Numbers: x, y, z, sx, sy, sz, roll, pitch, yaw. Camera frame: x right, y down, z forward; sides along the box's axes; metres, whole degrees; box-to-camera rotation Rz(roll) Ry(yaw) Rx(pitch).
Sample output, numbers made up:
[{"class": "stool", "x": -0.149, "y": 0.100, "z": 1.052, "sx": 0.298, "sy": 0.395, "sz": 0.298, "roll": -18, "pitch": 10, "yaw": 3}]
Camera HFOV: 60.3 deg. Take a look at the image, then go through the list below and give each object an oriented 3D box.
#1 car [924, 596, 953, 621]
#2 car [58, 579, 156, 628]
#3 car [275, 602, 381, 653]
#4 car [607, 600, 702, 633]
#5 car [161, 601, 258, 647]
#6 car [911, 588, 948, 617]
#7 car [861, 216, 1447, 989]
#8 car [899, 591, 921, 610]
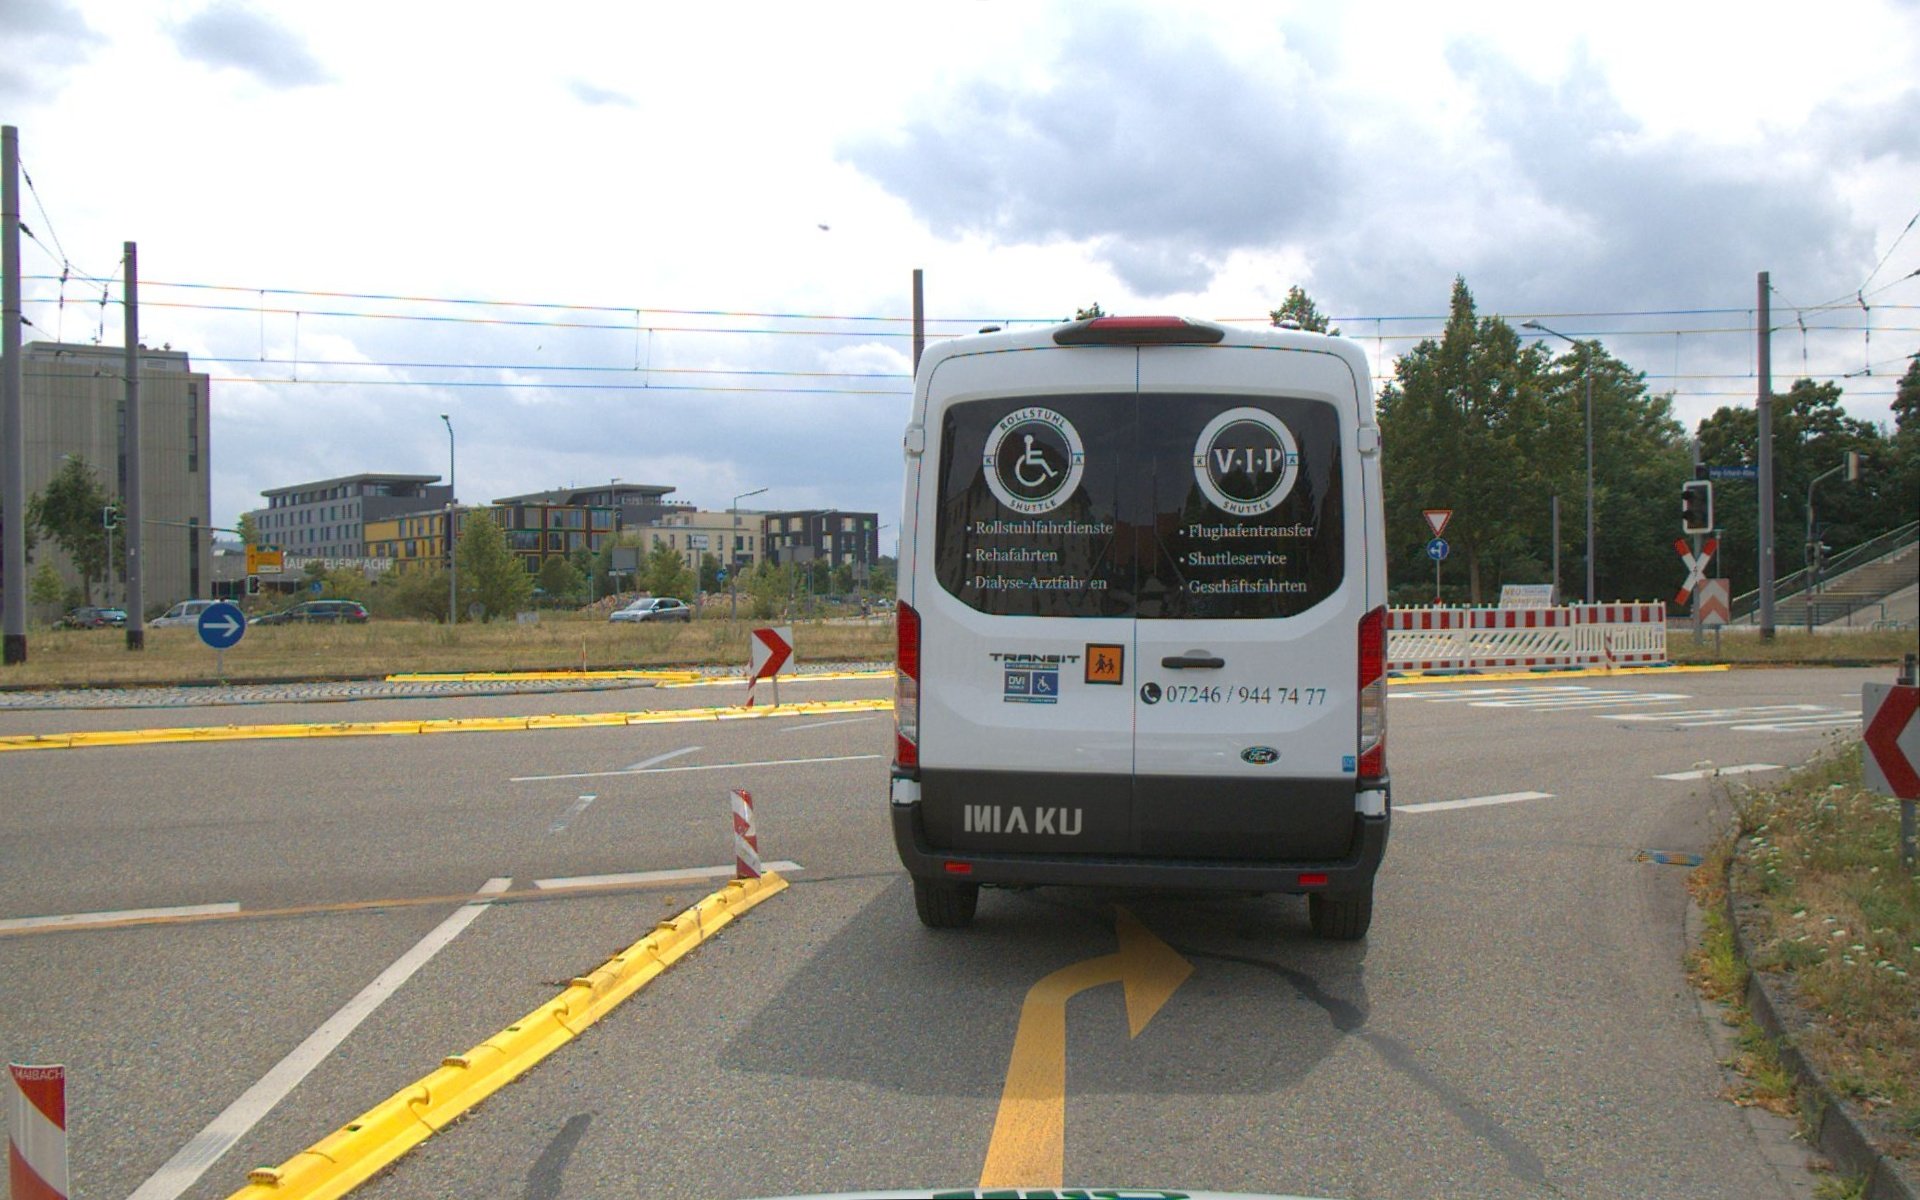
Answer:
[{"class": "car", "x": -1.632, "y": 0.689, "z": 127.707, "sx": 1.952, "sy": 1.881, "sz": 4.001, "roll": 0, "pitch": -1, "yaw": 3}, {"class": "car", "x": -36.567, "y": 0.169, "z": 70.881, "sx": 3.914, "sy": 2.049, "sz": 1.995, "roll": -1, "pitch": -2, "yaw": 32}, {"class": "car", "x": -26.128, "y": 1.149, "z": 68.488, "sx": 3.924, "sy": 2.049, "sz": 1.990, "roll": 1, "pitch": -1, "yaw": -18}, {"class": "car", "x": -13.803, "y": 0.747, "z": 74.944, "sx": 1.802, "sy": 1.489, "sz": 3.973, "roll": -1, "pitch": -1, "yaw": 44}, {"class": "car", "x": -34.103, "y": 1.085, "z": 75.118, "sx": 4.268, "sy": 2.049, "sz": 1.995, "roll": -1, "pitch": -2, "yaw": 32}, {"class": "car", "x": -2.054, "y": 0.168, "z": 111.875, "sx": 1.951, "sy": 1.881, "sz": 4.003, "roll": 0, "pitch": -1, "yaw": 8}, {"class": "car", "x": 0.991, "y": 0.021, "z": 8.785, "sx": 2.081, "sy": 2.745, "sz": 5.635, "roll": -1, "pitch": 0, "yaw": 6}, {"class": "car", "x": -5.132, "y": 0.068, "z": 169.977, "sx": 1.952, "sy": 1.881, "sz": 4.001, "roll": 0, "pitch": -1, "yaw": 2}]
